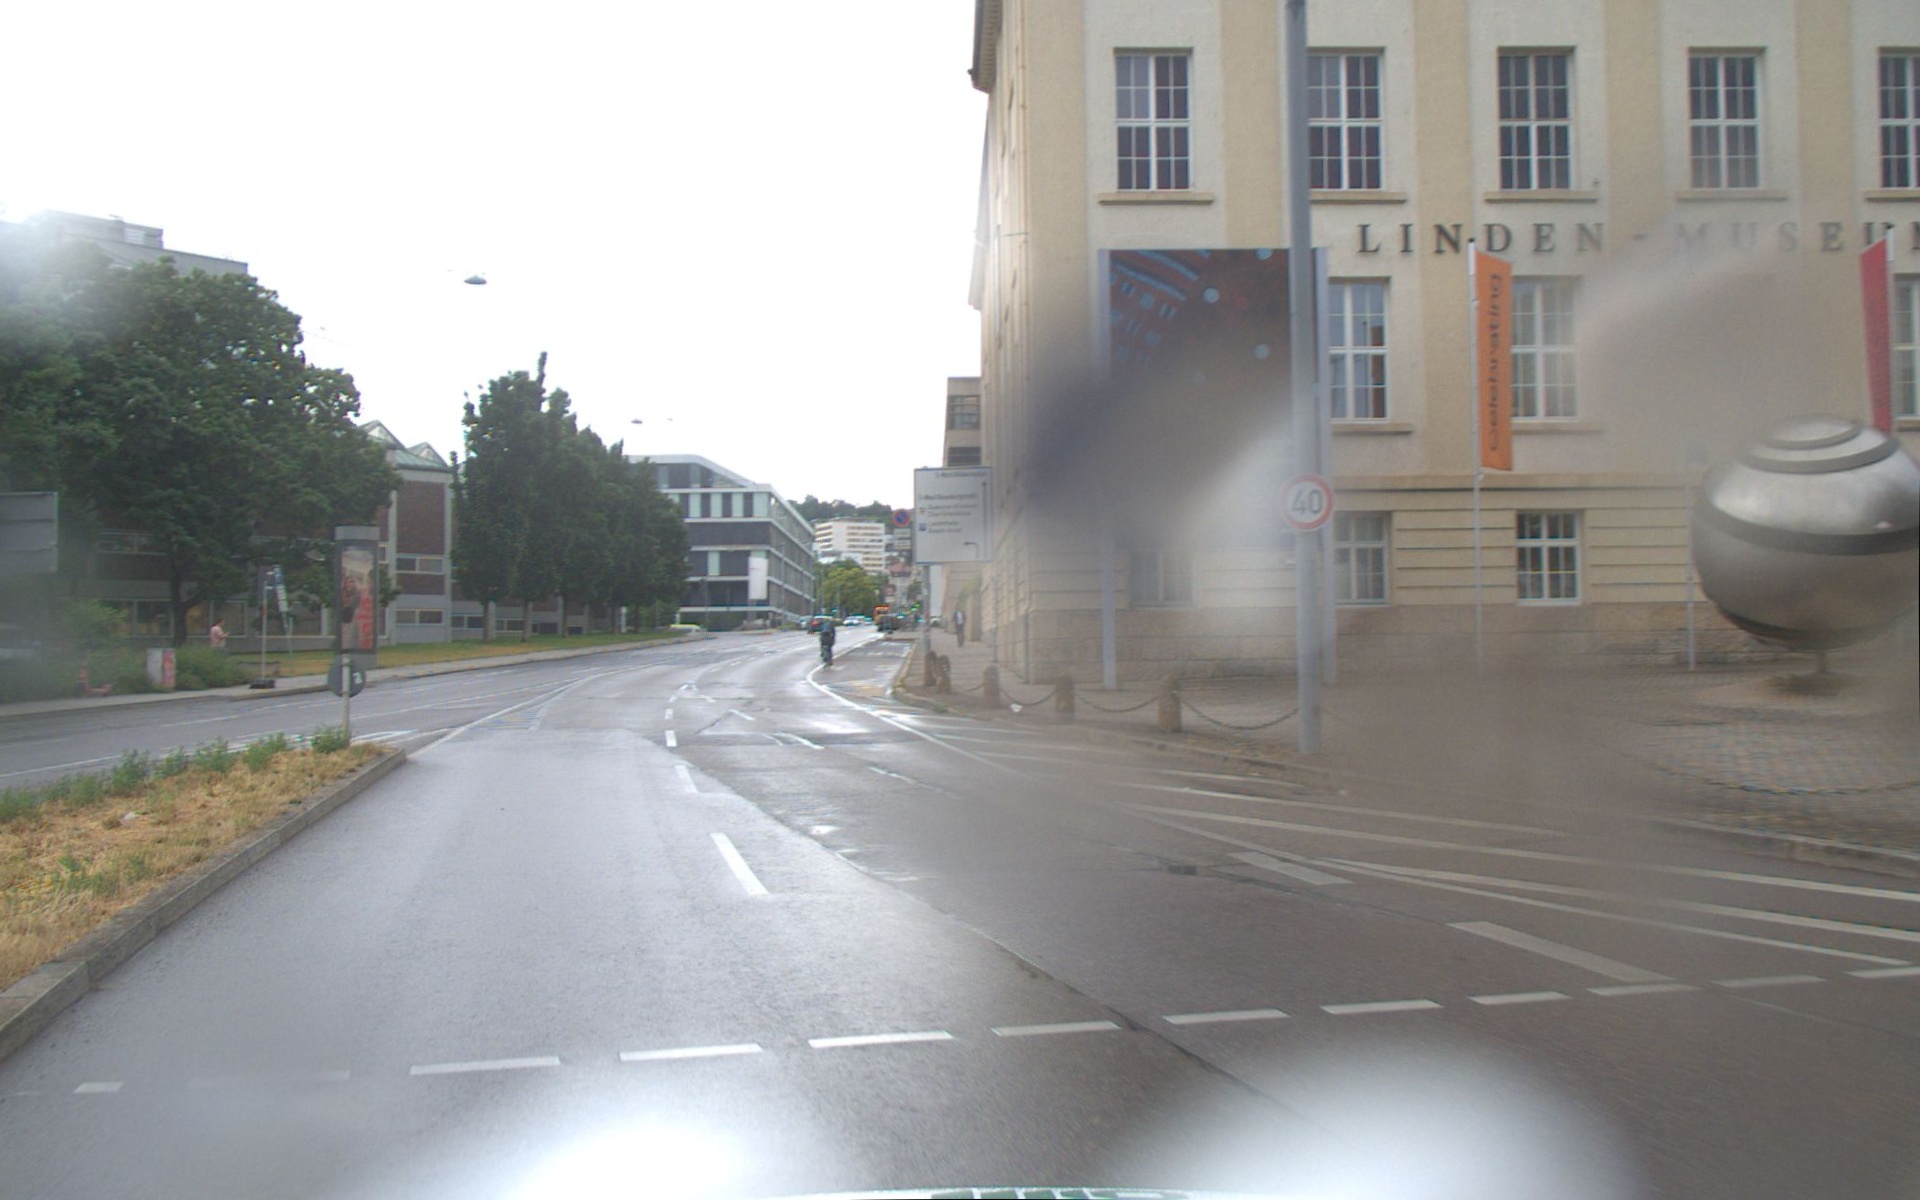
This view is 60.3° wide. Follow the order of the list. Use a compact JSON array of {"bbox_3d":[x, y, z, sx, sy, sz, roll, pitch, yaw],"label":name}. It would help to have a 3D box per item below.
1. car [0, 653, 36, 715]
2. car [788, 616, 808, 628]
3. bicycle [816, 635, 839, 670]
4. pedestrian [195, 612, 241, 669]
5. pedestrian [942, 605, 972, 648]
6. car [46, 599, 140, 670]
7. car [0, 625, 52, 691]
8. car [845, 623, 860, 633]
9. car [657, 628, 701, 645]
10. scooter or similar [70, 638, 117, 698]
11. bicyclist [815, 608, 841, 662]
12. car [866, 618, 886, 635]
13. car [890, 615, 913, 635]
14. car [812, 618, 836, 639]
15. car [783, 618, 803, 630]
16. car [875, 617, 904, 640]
[{"bbox_3d":[-21.463,1.716,34.779,3.418,1.241,1.833,1,-1,23],"label":"car"},{"bbox_3d":[-18.745,2.556,191.261,1.800,1.257,3.417,1,1,2],"label":"car"},{"bbox_3d":[-4.143,1.632,51.849,0.633,1.075,1.820,0,-1,-2],"label":"bicycle"},{"bbox_3d":[-21.278,1.155,47.467,0.787,1.598,0.958,1,-1,9],"label":"pedestrian"},{"bbox_3d":[-0.134,1.167,73.401,1.214,1.820,1.595,-2,-1,2],"label":"pedestrian"},{"bbox_3d":[-22.864,0.936,43.741,1.822,1.773,4.047,0,-2,-22],"label":"car"},{"bbox_3d":[-22.671,1.324,38.576,1.837,1.467,4.014,1,-1,-41],"label":"car"},{"bbox_3d":[-16.302,4.263,250.645,1.800,1.377,3.417,1,1,2],"label":"car"},{"bbox_3d":[-34.554,4.463,203.410,5.122,2.049,1.999,1,-1,-2],"label":"car"},{"bbox_3d":[-19.300,1.503,36.851,0.448,1.289,0.977,1,-1,3],"label":"scooter or similar"},{"bbox_3d":[-4.142,1.095,51.869,0.685,1.661,1.128,1,-1,0],"label":"bicyclist"},{"bbox_3d":[-8.299,2.605,163.113,1.801,1.587,4.000,1,1,0],"label":"car"},{"bbox_3d":[-5.026,2.138,142.583,1.801,1.587,4.000,1,1,0],"label":"car"},{"bbox_3d":[-11.553,2.403,140.837,1.854,1.654,3.644,1,1,-3],"label":"car"},{"bbox_3d":[-18.853,2.690,186.657,1.800,1.257,3.417,1,1,2],"label":"car"},{"bbox_3d":[-5.254,2.097,123.098,1.800,1.587,4.002,1,1,2],"label":"car"}]
